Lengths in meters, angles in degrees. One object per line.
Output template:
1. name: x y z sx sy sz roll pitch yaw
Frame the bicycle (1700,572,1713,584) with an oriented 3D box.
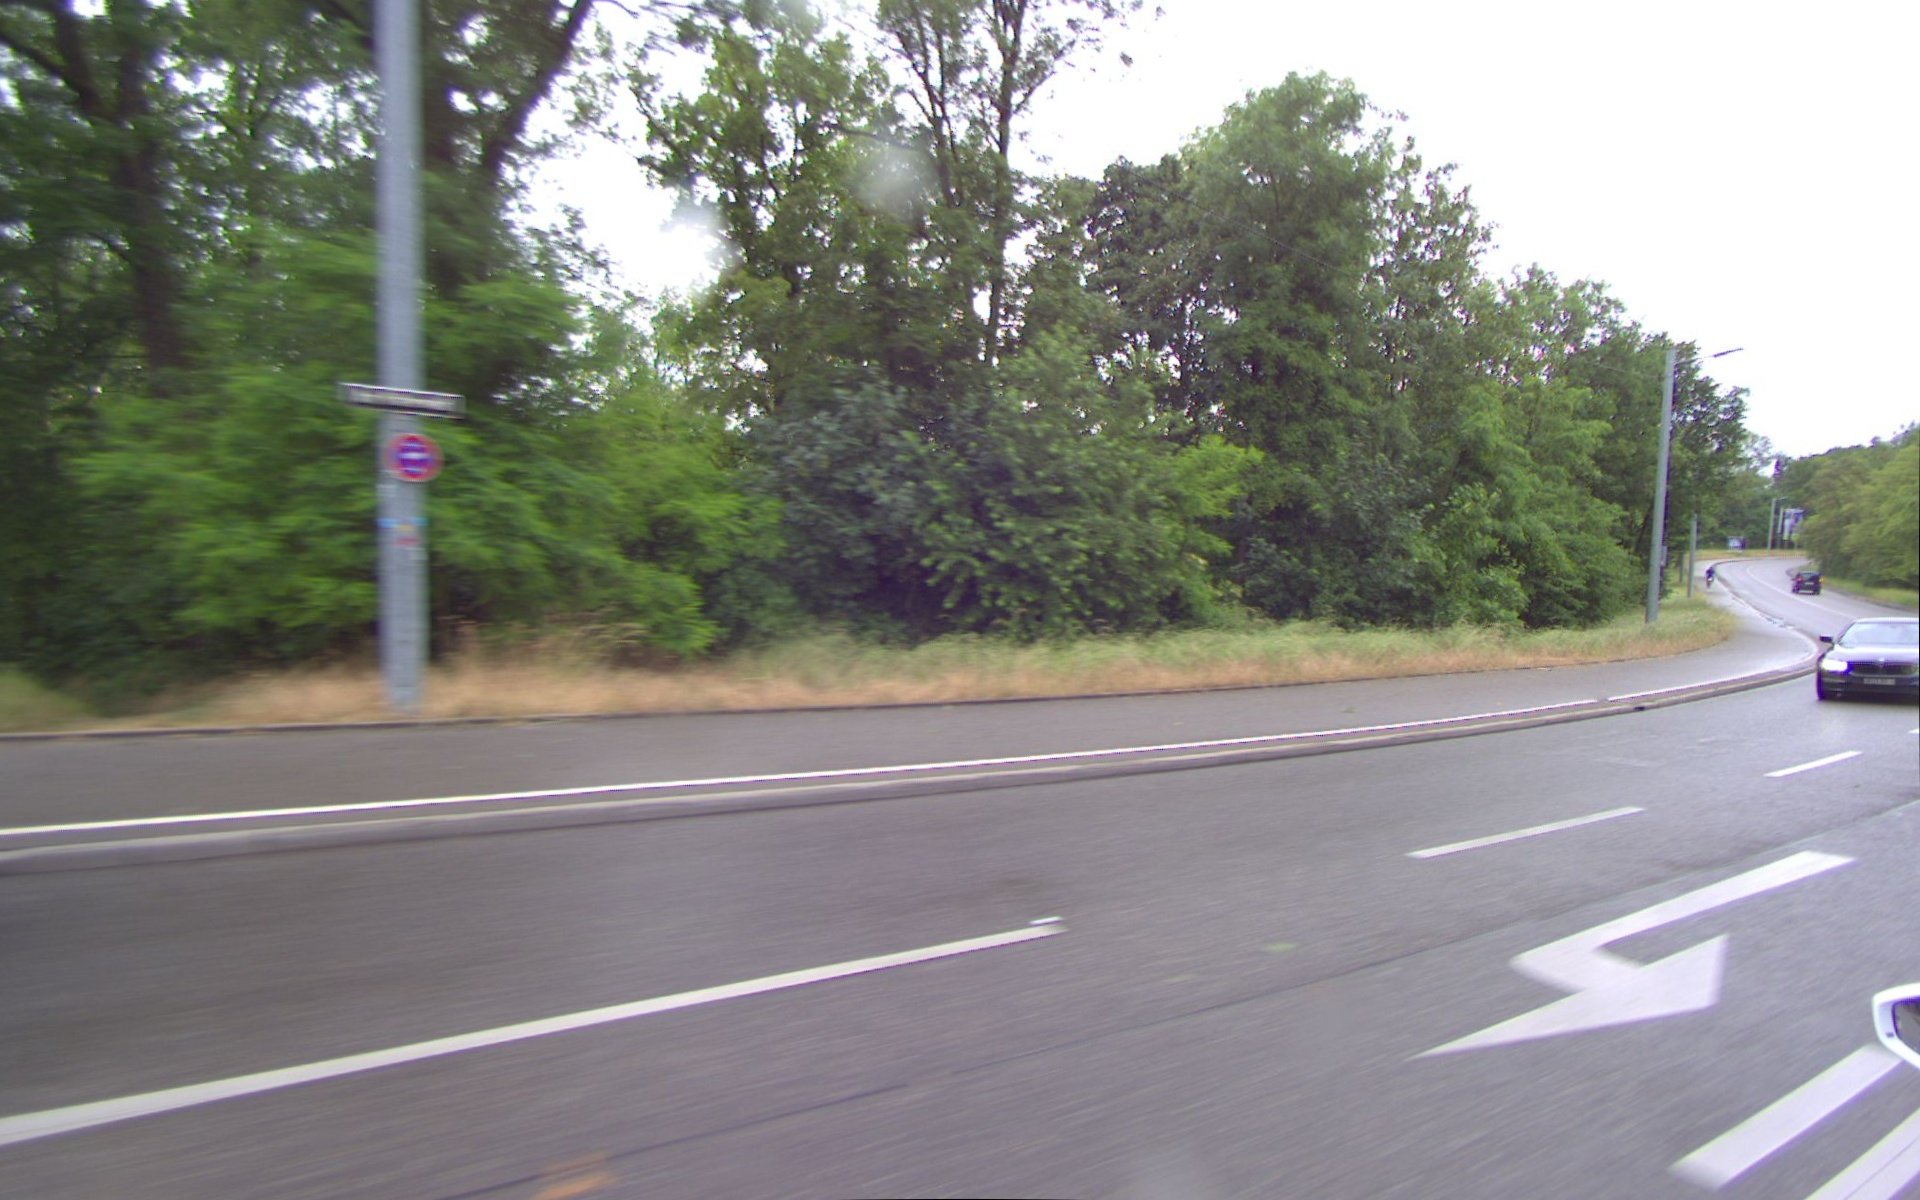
1. bicycle: 65.976 -1.977 88.763 0.714 0.955 2.542 5 5 34

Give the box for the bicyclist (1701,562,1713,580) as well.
1. bicyclist: 66.075 -2.578 88.833 0.699 1.577 1.167 5 5 34

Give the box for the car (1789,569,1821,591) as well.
1. car: 72.069 -1.750 85.704 1.719 1.740 3.985 5 5 36

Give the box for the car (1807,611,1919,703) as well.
1. car: 17.258 0.988 18.532 4.595 1.521 1.830 1 -1 -41

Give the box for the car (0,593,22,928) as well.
1. car: -5.590 0.692 3.106 3.623 1.497 1.559 1 0 -29
